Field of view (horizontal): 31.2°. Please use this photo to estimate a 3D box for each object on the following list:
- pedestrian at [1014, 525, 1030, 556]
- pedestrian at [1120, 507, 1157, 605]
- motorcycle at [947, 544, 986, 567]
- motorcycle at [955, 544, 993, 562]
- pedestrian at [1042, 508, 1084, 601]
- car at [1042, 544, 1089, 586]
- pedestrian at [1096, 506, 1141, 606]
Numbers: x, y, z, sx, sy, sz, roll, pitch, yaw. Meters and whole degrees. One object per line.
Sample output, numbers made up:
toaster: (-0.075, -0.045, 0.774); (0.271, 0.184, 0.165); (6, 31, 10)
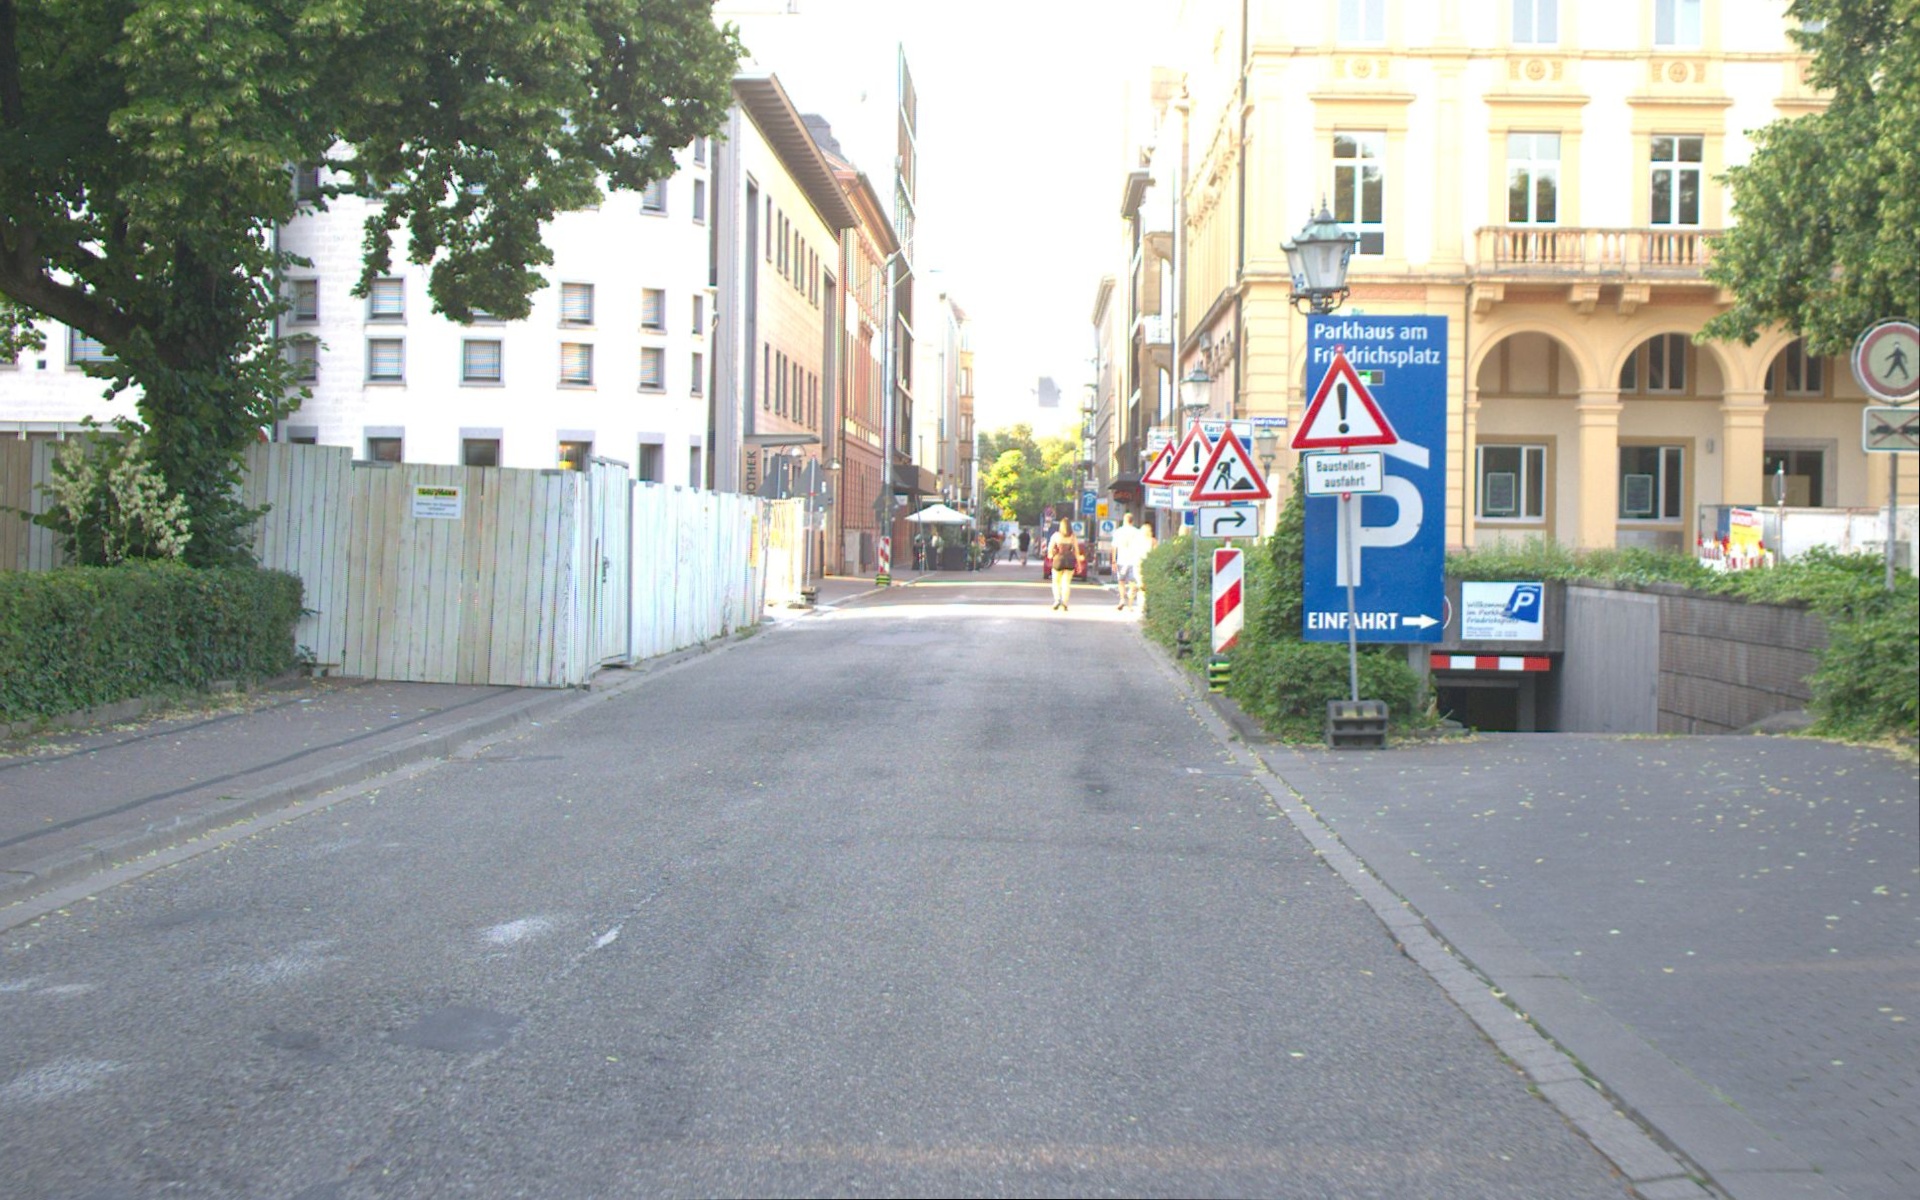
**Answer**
pedestrian: (3.273, -3.159, 182.348); (0.804, 1.667, 0.888); (1, 1, 3)
pedestrian: (3.292, -0.807, 63.285); (0.636, 1.797, 0.772); (0, 1, 0)
motorcycle: (0.295, -2.071, 159.474); (1.801, 1.037, 0.494); (1, 1, -2)
motorcycle: (0.694, -2.288, 167.660); (1.801, 0.872, 0.560); (1, 1, -2)
pedestrian: (1.940, -0.856, 64.825); (0.775, 1.740, 0.875); (0, 1, 0)
car: (3.921, -1.314, 127.673); (1.649, 1.422, 3.535); (4, 1, 2)
pedestrian: (2.983, -0.837, 64.789); (0.812, 1.869, 0.875); (0, 1, 0)
